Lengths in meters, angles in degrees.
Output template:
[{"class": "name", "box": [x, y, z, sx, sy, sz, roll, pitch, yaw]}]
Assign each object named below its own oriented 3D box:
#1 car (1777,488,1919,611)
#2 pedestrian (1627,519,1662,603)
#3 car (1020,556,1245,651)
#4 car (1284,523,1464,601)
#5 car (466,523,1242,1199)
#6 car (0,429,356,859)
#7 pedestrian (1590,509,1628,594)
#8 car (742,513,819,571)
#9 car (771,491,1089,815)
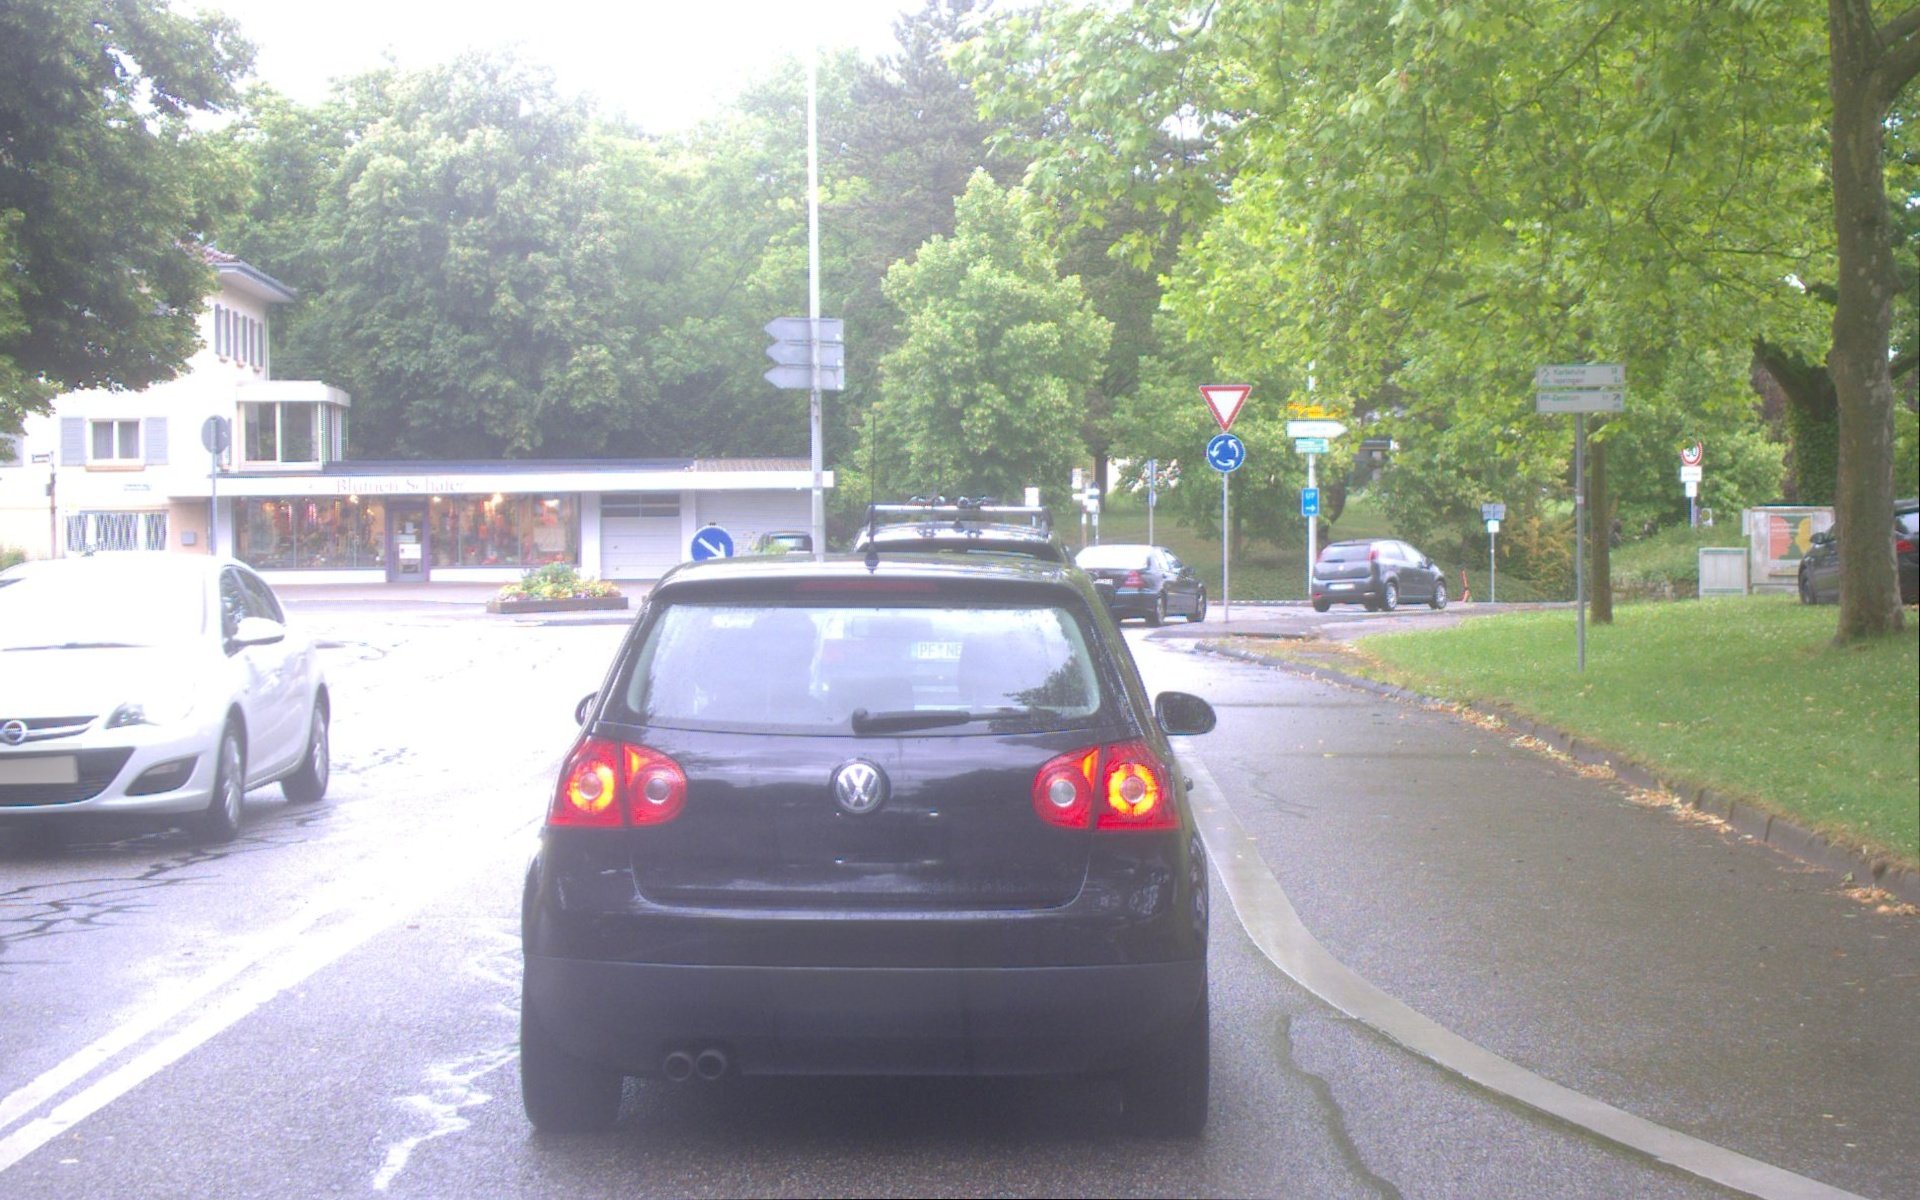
[{"class": "car", "box": [11.930, -0.663, 43.939, 1.764, 1.466, 4.598, -2, 1, -1]}, {"class": "pedestrian", "box": [14.001, -0.794, 70.310, 0.634, 1.707, 0.529, 1, 0, 17]}, {"class": "car", "box": [2.961, 0.048, 58.355, 1.997, 1.525, 3.992, 1, 1, 35]}, {"class": "car", "box": [8.511, -0.772, 70.406, 1.997, 1.525, 3.992, 1, 1, 35]}, {"class": "car", "box": [-0.273, 0.583, 9.932, 1.764, 1.533, 4.000, 1, 1, -1]}, {"class": "car", "box": [-4.618, 0.191, 18.610, 1.993, 2.007, 4.574, -2, 1, -2]}, {"class": "pedestrian", "box": [13.143, -0.975, 69.623, 0.528, 1.707, 0.636, 1, 0, -14]}, {"class": "car", "box": [-4.856, -1.572, 92.502, 1.812, 1.481, 3.832, -2, 1, -6]}, {"class": "car", "box": [-0.200, 0.275, 21.628, 1.764, 1.795, 4.246, -1, 1, -1]}]
